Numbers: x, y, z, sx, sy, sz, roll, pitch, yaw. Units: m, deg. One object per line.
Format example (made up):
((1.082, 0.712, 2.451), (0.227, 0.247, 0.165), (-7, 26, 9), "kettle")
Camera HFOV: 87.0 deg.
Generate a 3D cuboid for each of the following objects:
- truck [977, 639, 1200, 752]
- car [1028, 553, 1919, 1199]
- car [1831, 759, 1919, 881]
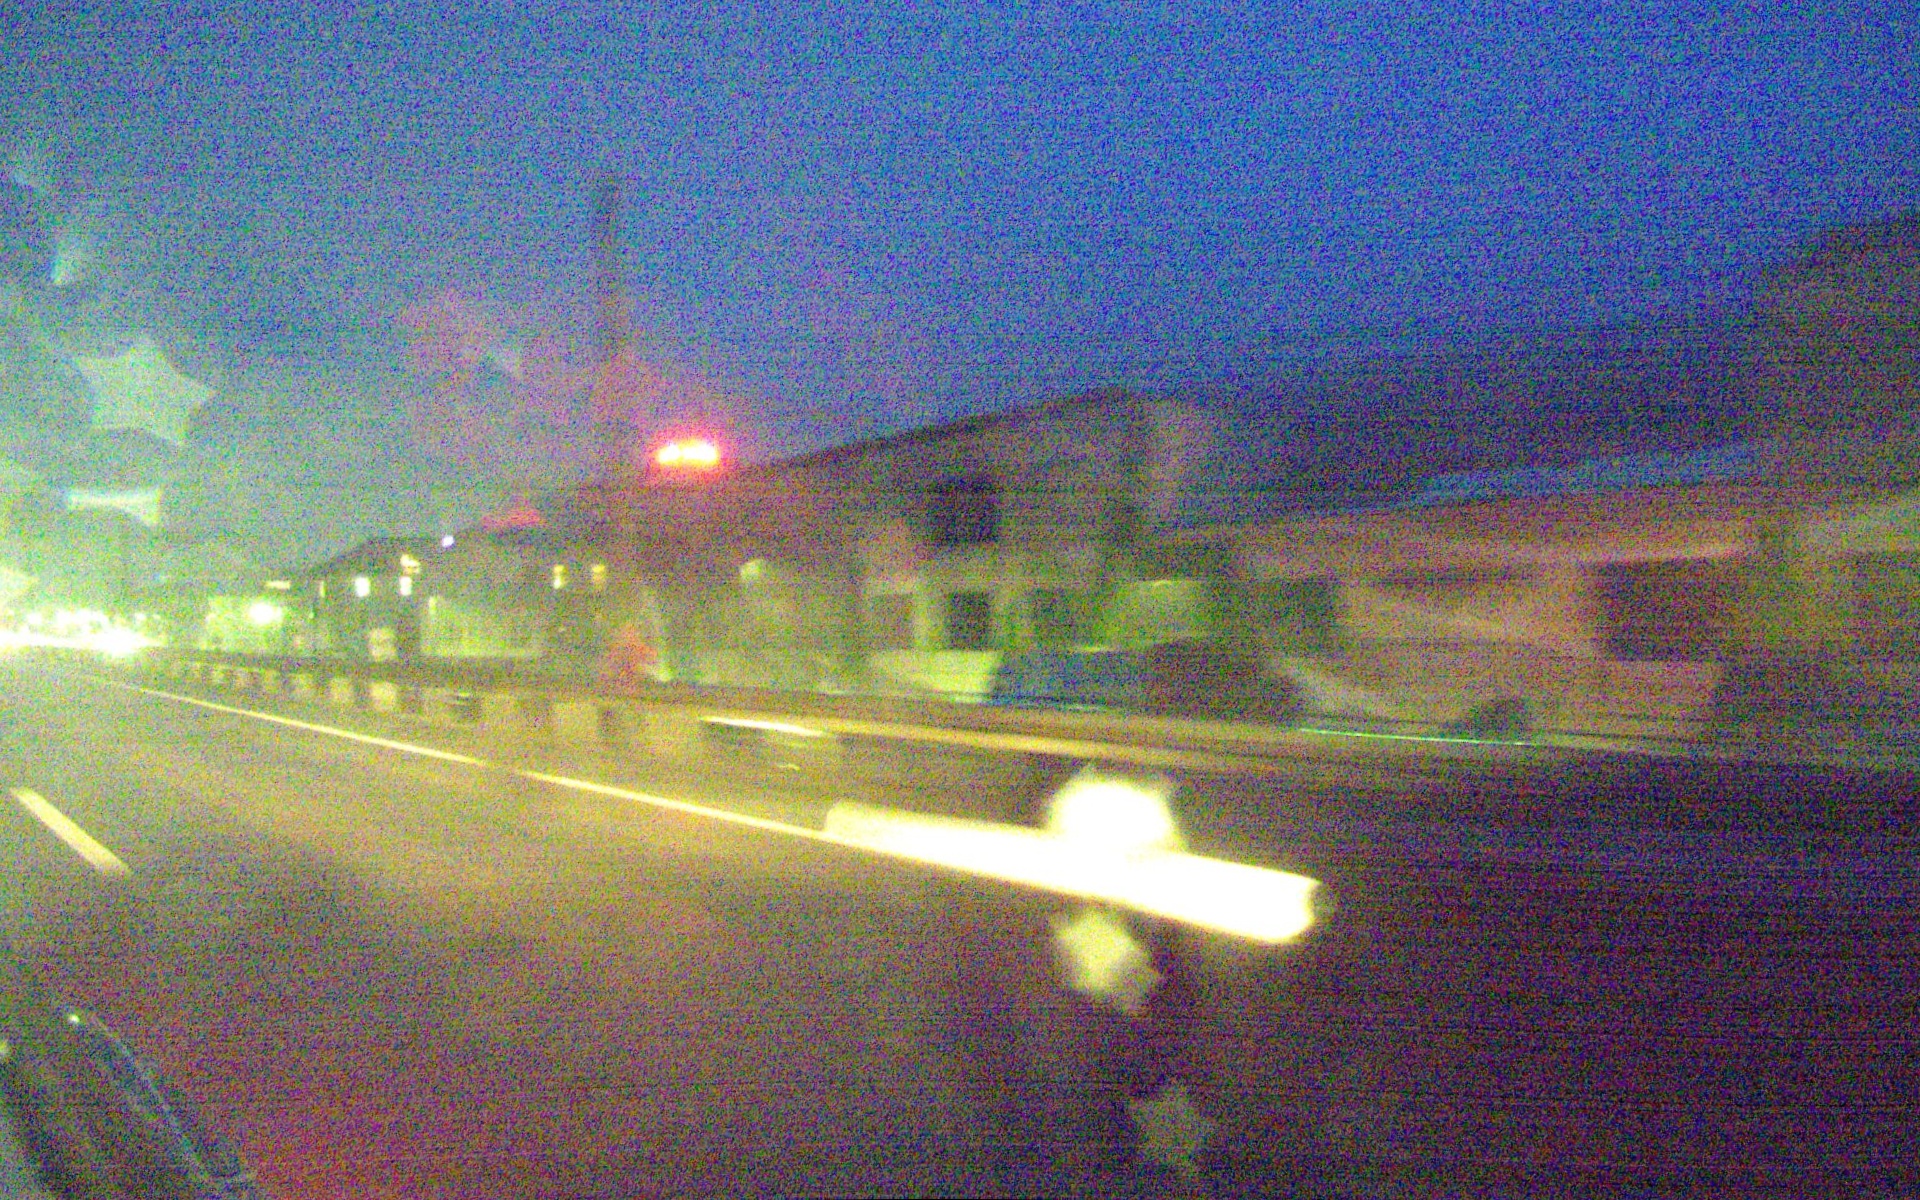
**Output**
((4.464, 3.264, 36.857), (2.724, 3.509, 8.111), (0, -1, -44), "truck")
((2.283, 0.630, 2.312), (4.063, 1.428, 1.694), (-1, -1, 41), "car")
((17.211, 3.766, 16.648), (4.289, 1.688, 1.790), (-1, -1, 40), "car")
